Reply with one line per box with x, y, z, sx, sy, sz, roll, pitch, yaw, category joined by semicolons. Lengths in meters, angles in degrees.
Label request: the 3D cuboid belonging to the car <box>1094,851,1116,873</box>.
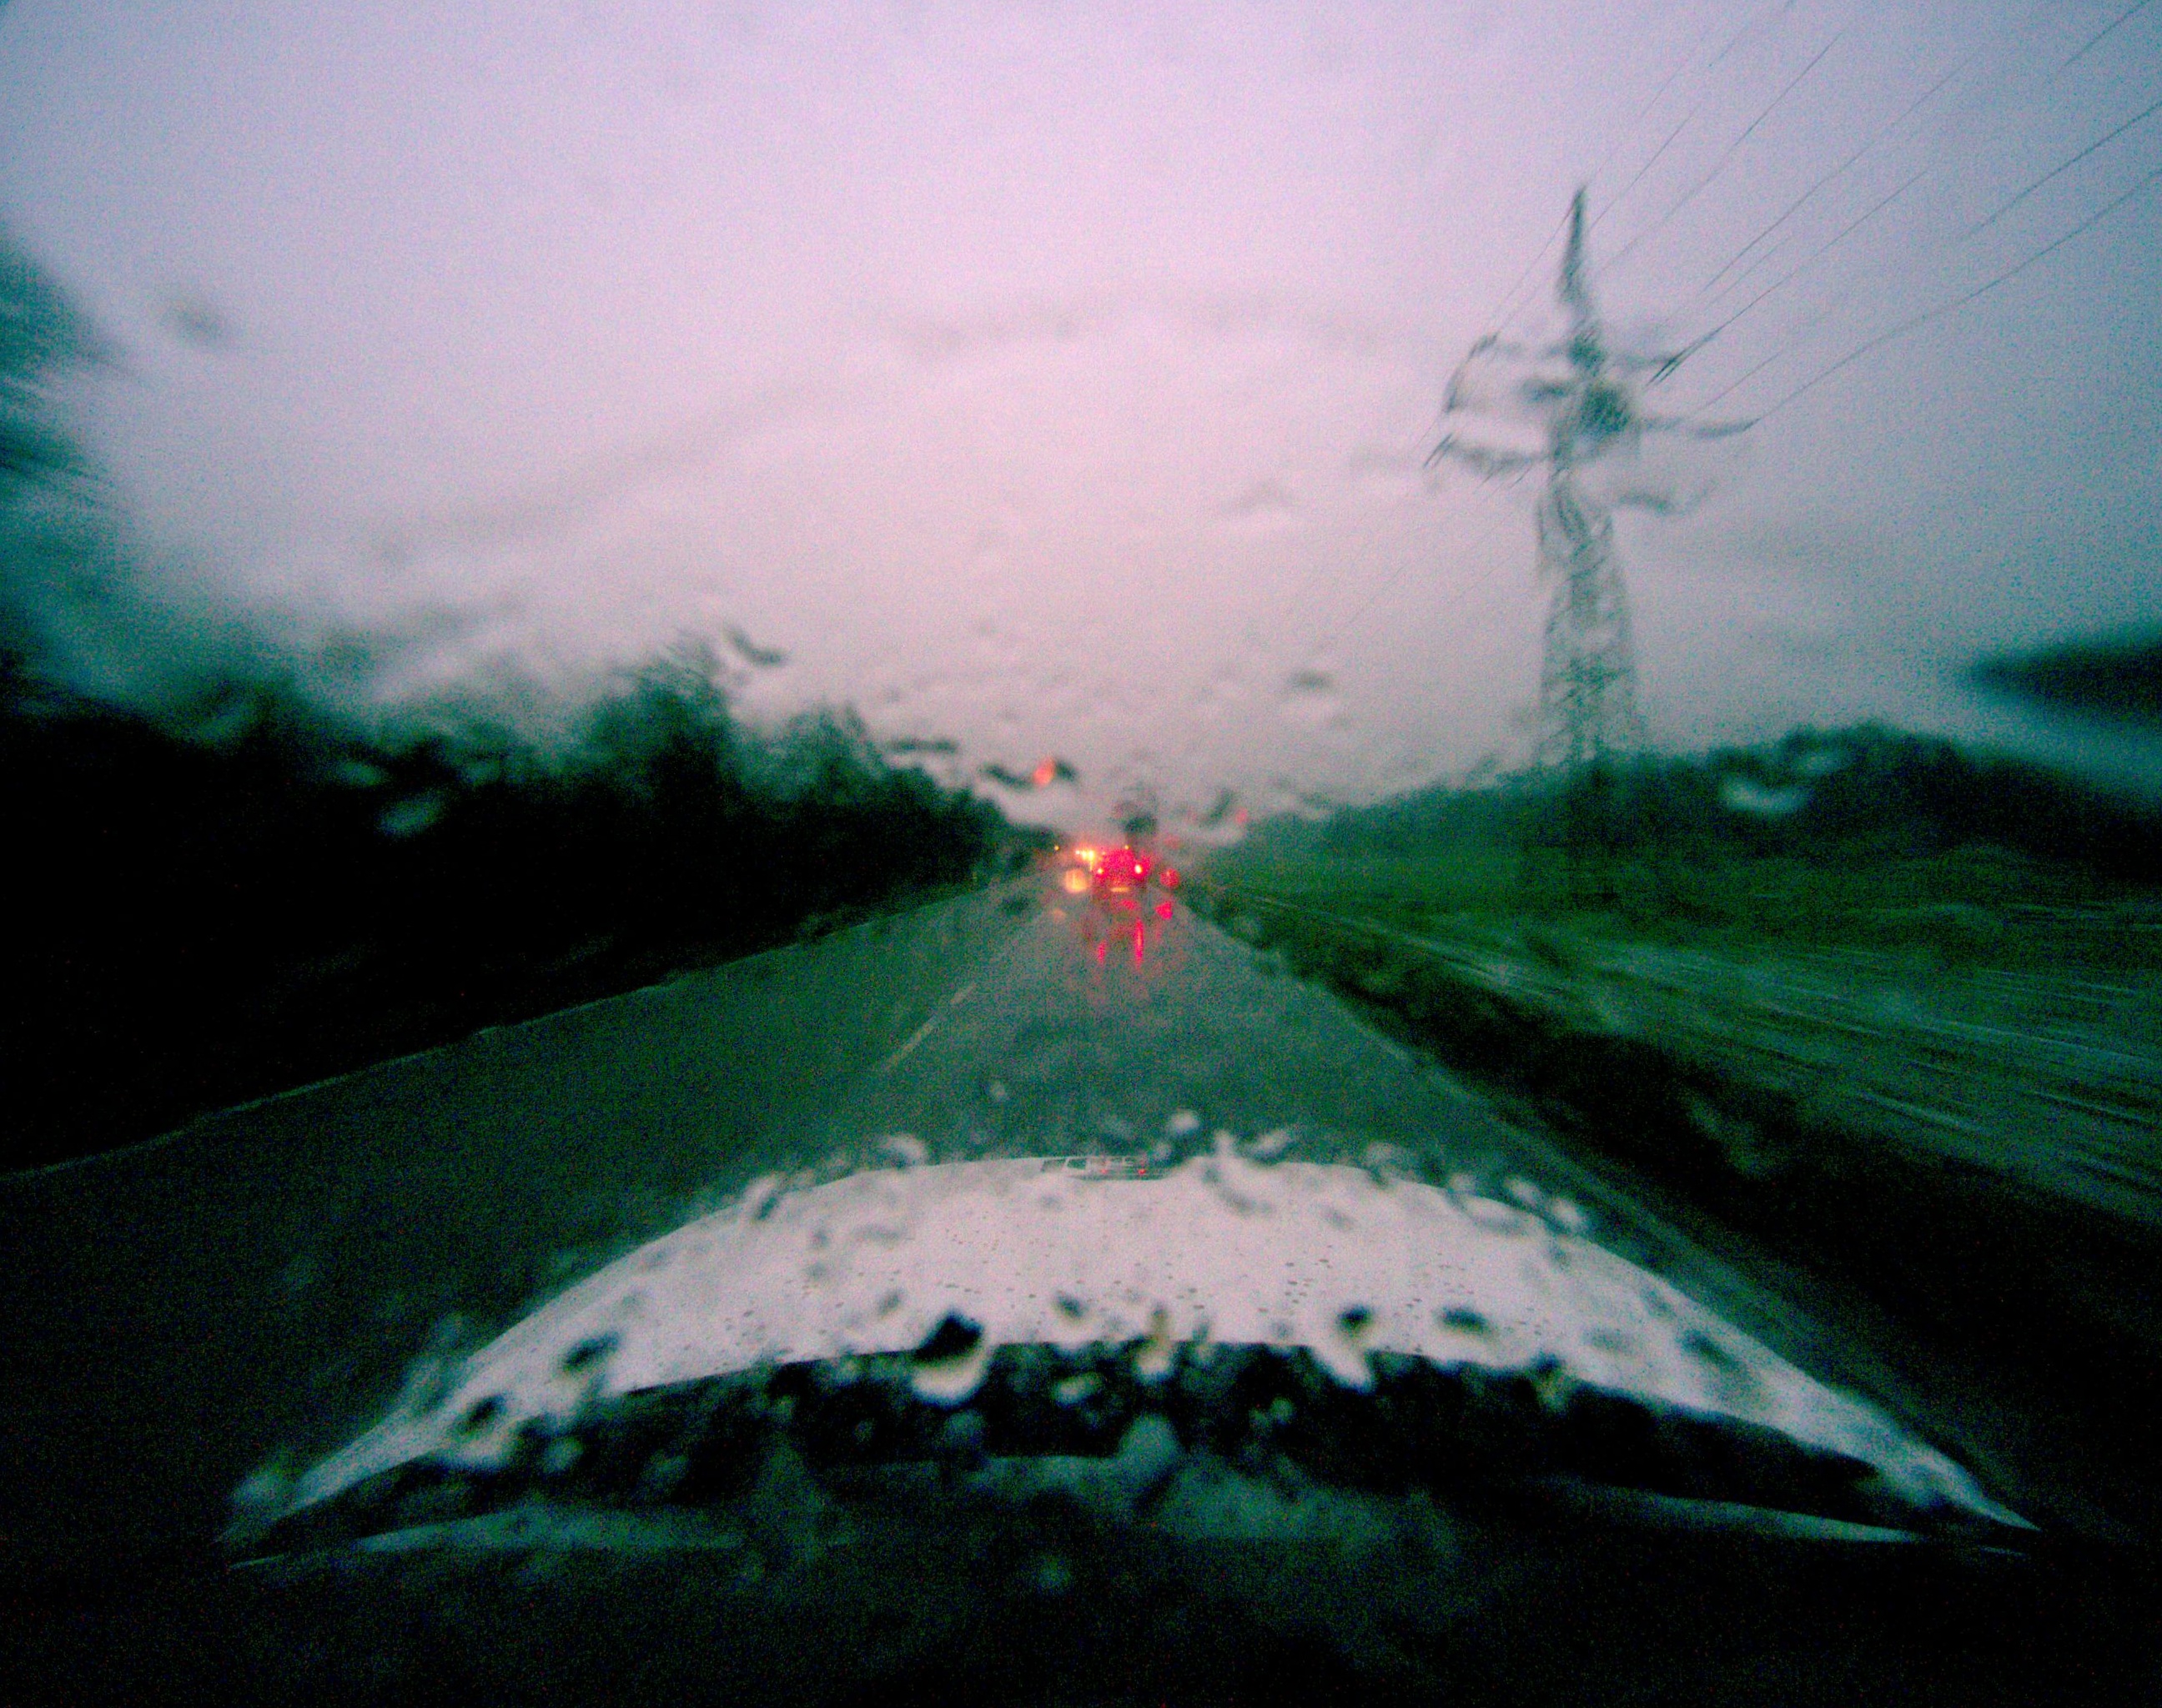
2.333;0.739;77.675;1.986;2.013;4.003;0;1;2;car

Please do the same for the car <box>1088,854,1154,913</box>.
1.274;0.914;26.915;1.986;1.752;4.001;-1;0;1;car
